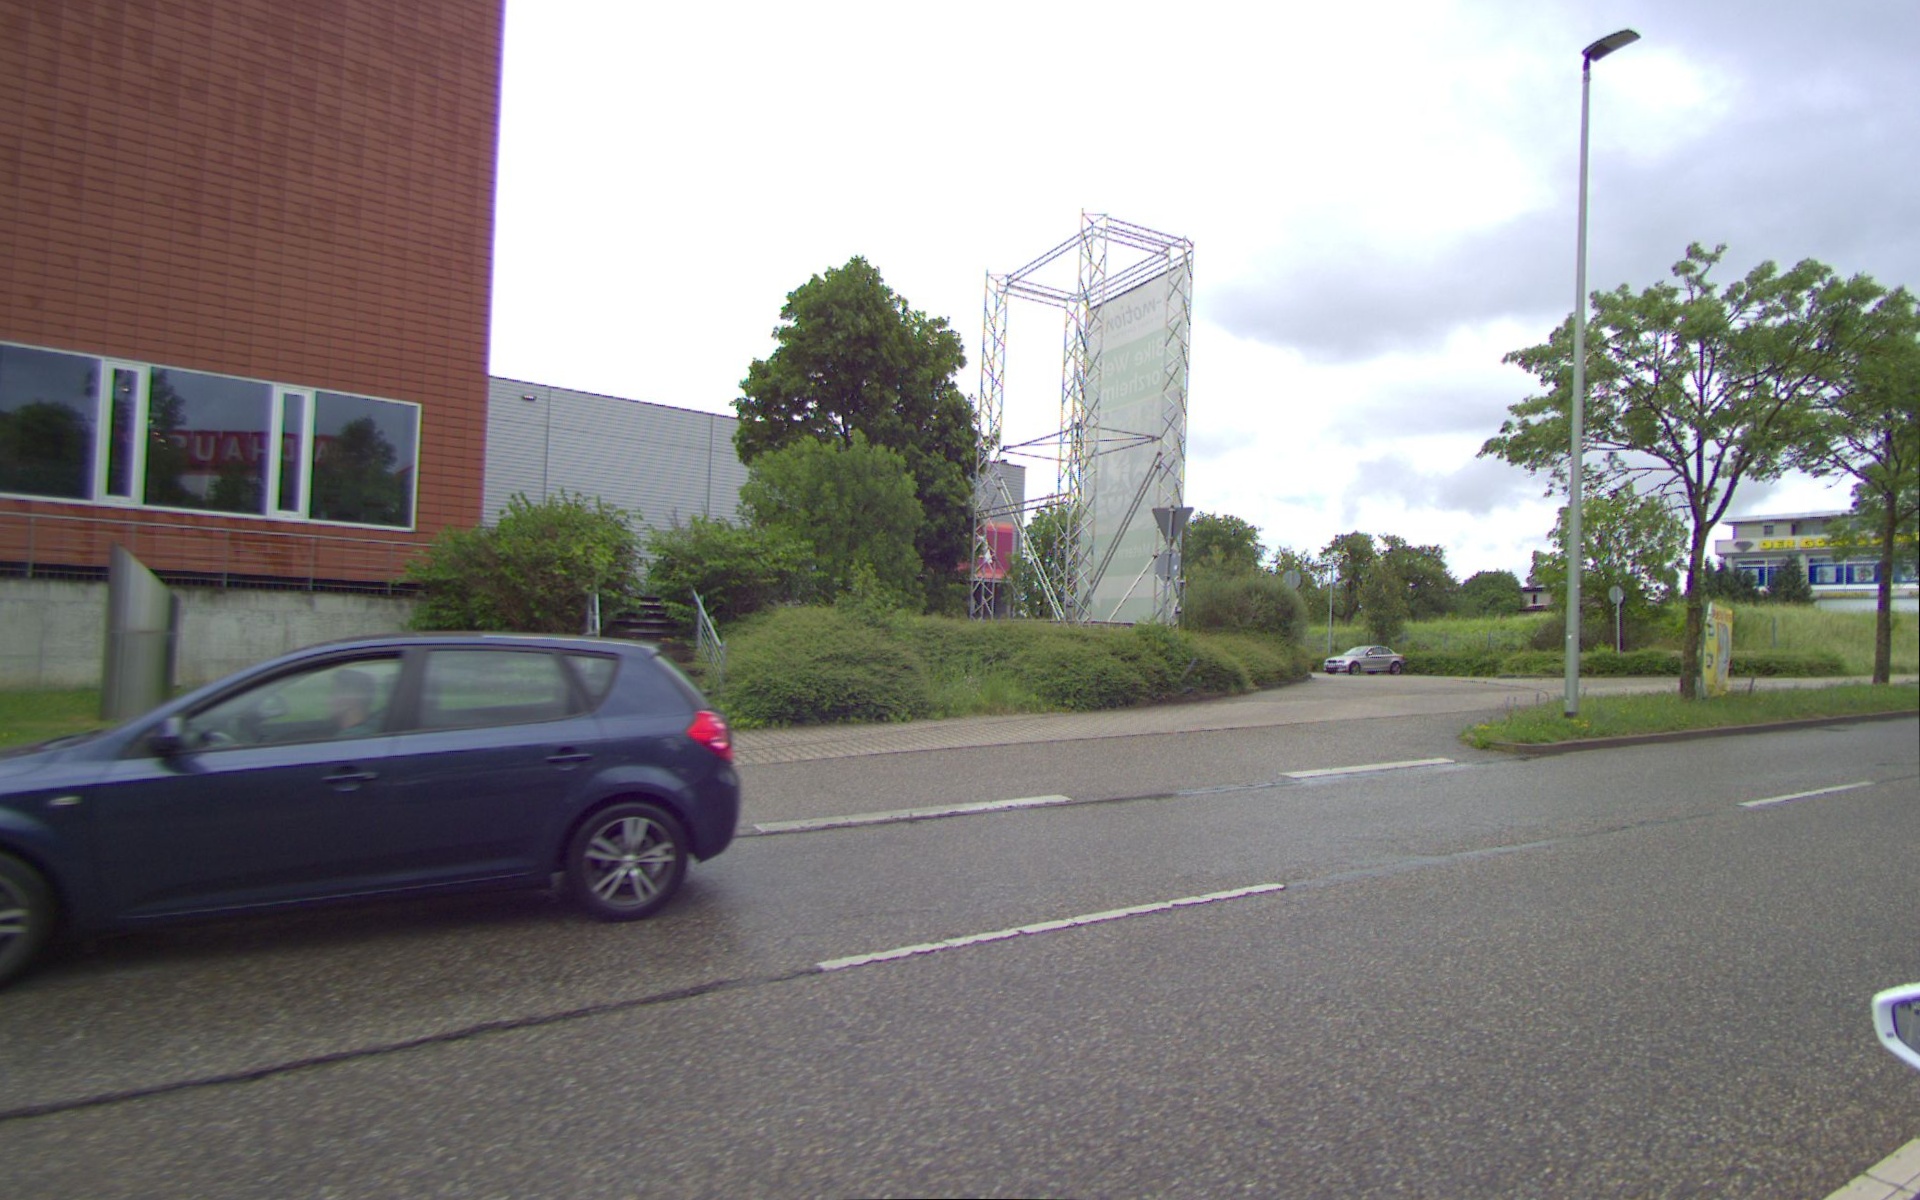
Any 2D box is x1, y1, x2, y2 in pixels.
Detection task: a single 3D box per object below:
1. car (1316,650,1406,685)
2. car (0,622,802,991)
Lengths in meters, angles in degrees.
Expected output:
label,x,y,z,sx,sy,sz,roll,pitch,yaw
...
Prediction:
label,x,y,z,sx,sy,sz,roll,pitch,yaw
car,19.853,3.329,49.763,4.231,1.635,1.528,1,-1,-20
car,-3.015,0.889,5.442,3.949,1.473,1.731,1,-3,-27
